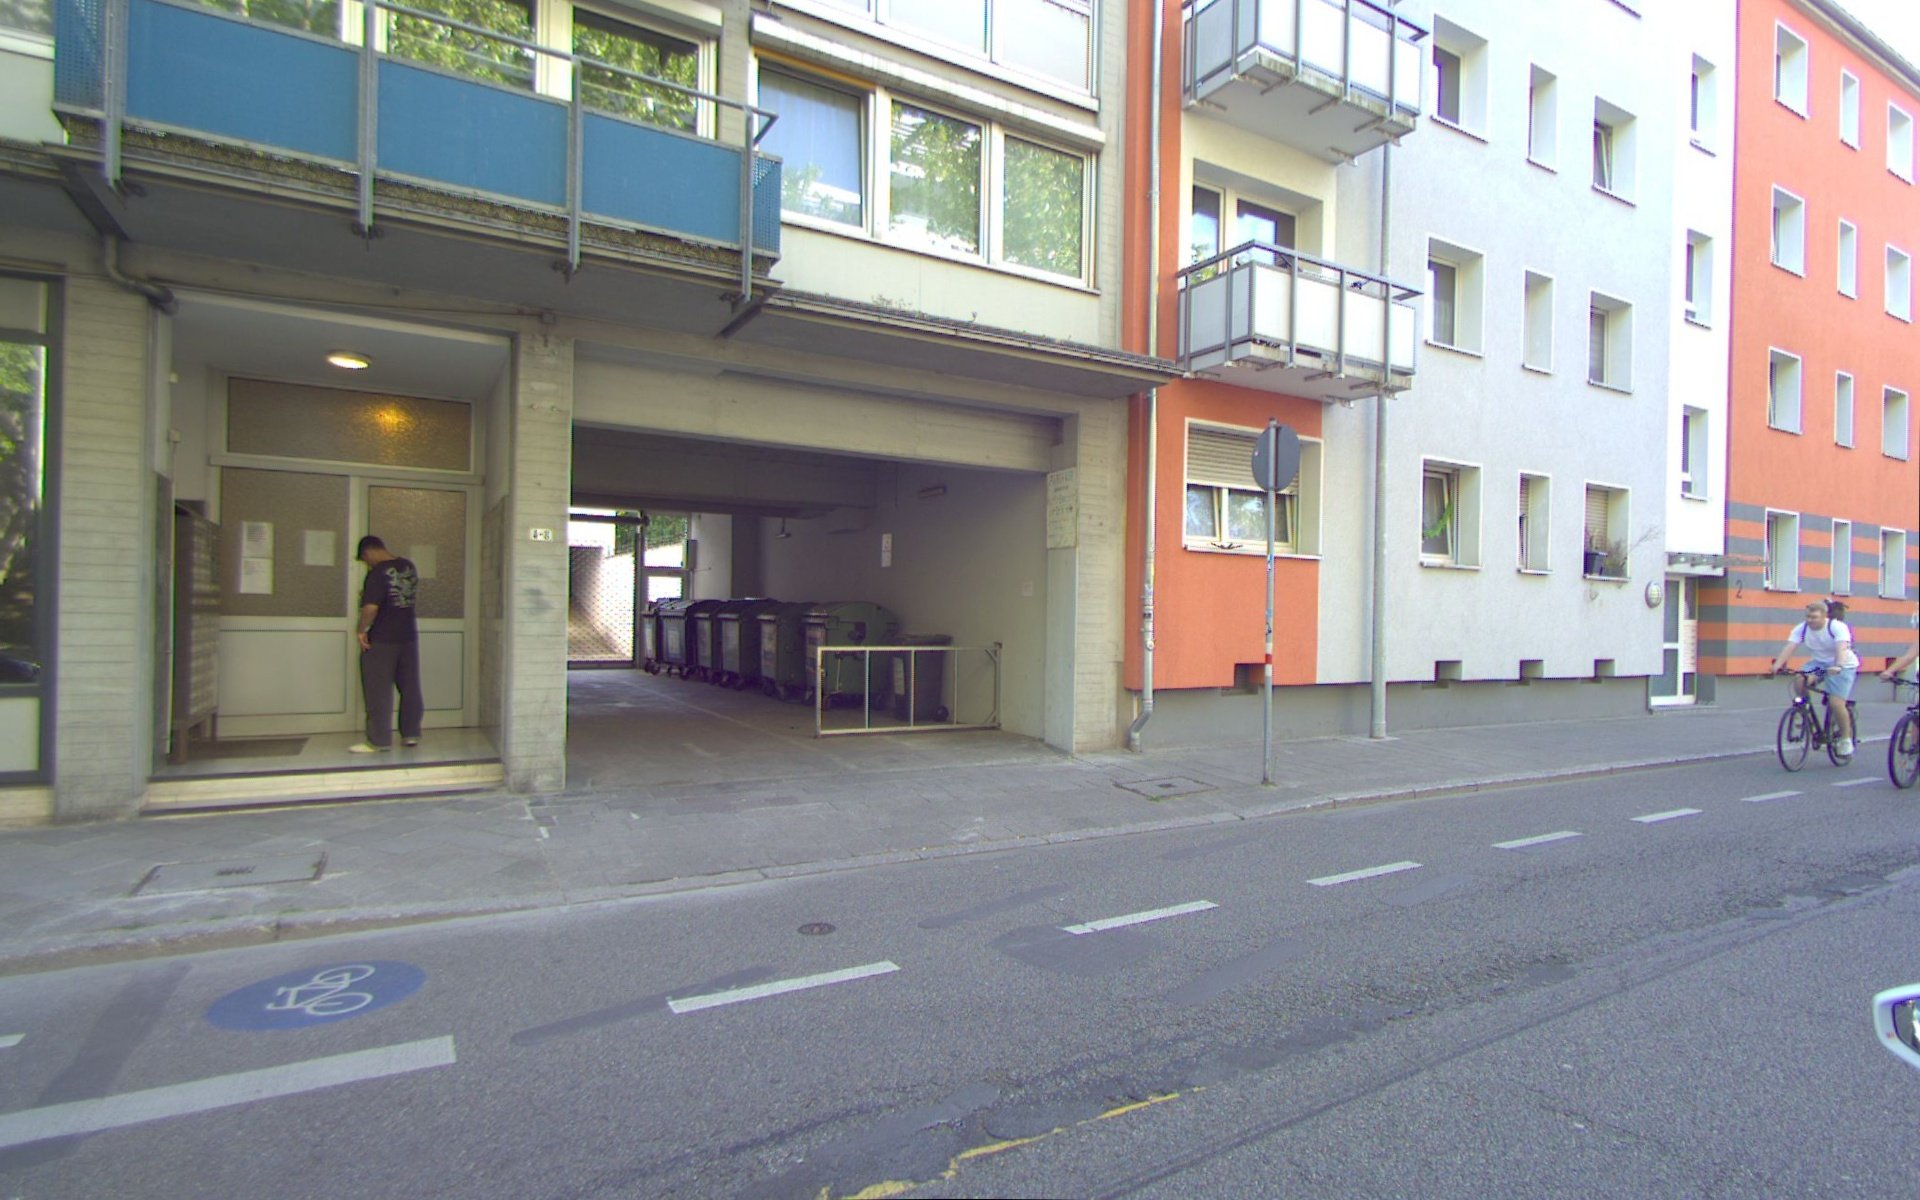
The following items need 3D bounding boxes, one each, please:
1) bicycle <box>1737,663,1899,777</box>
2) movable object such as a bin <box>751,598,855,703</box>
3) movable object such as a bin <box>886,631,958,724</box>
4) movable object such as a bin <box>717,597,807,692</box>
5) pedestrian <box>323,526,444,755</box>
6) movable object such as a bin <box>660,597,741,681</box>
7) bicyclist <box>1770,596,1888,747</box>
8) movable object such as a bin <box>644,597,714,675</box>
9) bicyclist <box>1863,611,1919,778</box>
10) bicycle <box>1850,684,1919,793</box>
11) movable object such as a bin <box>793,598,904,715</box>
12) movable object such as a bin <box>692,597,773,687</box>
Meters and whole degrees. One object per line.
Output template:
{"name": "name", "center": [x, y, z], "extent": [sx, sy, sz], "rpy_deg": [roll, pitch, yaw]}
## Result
{"name": "bicycle", "center": [9.556, 1.285, 11.172], "extent": [1.816, 1.093, 0.858], "rpy_deg": [1, 0, -32]}
{"name": "movable object such as a bin", "center": [-2.385, 0.731, 15.163], "extent": [1.167, 1.503, 1.252], "rpy_deg": [1, 0, -30]}
{"name": "movable object such as a bin", "center": [-0.476, 0.941, 12.470], "extent": [0.687, 1.094, 0.579], "rpy_deg": [1, 0, -30]}
{"name": "movable object such as a bin", "center": [-3.286, 0.723, 16.646], "extent": [1.167, 1.503, 1.073], "rpy_deg": [1, 0, -30]}
{"name": "pedestrian", "center": [-4.574, 0.313, 8.003], "extent": [0.537, 1.736, 0.662], "rpy_deg": [1, 0, 3]}
{"name": "movable object such as a bin", "center": [-4.834, 0.709, 18.689], "extent": [1.167, 1.503, 1.215], "rpy_deg": [1, 0, -30]}
{"name": "bicyclist", "center": [9.603, 0.755, 11.105], "extent": [0.832, 1.575, 0.836], "rpy_deg": [1, 0, -38]}
{"name": "movable object such as a bin", "center": [-5.591, 0.705, 19.969], "extent": [1.167, 1.503, 0.819], "rpy_deg": [1, 0, -30]}
{"name": "bicyclist", "center": [9.565, 0.915, 9.980], "extent": [0.972, 1.599, 0.680], "rpy_deg": [1, 0, -36]}
{"name": "bicycle", "center": [9.695, 1.364, 10.083], "extent": [1.844, 0.941, 0.689], "rpy_deg": [1, 0, -34]}
{"name": "movable object such as a bin", "center": [-1.544, 0.739, 13.780], "extent": [1.086, 1.503, 1.251], "rpy_deg": [1, 0, -30]}
{"name": "movable object such as a bin", "center": [-4.012, 0.720, 17.649], "extent": [1.080, 1.503, 1.159], "rpy_deg": [1, 0, -30]}
